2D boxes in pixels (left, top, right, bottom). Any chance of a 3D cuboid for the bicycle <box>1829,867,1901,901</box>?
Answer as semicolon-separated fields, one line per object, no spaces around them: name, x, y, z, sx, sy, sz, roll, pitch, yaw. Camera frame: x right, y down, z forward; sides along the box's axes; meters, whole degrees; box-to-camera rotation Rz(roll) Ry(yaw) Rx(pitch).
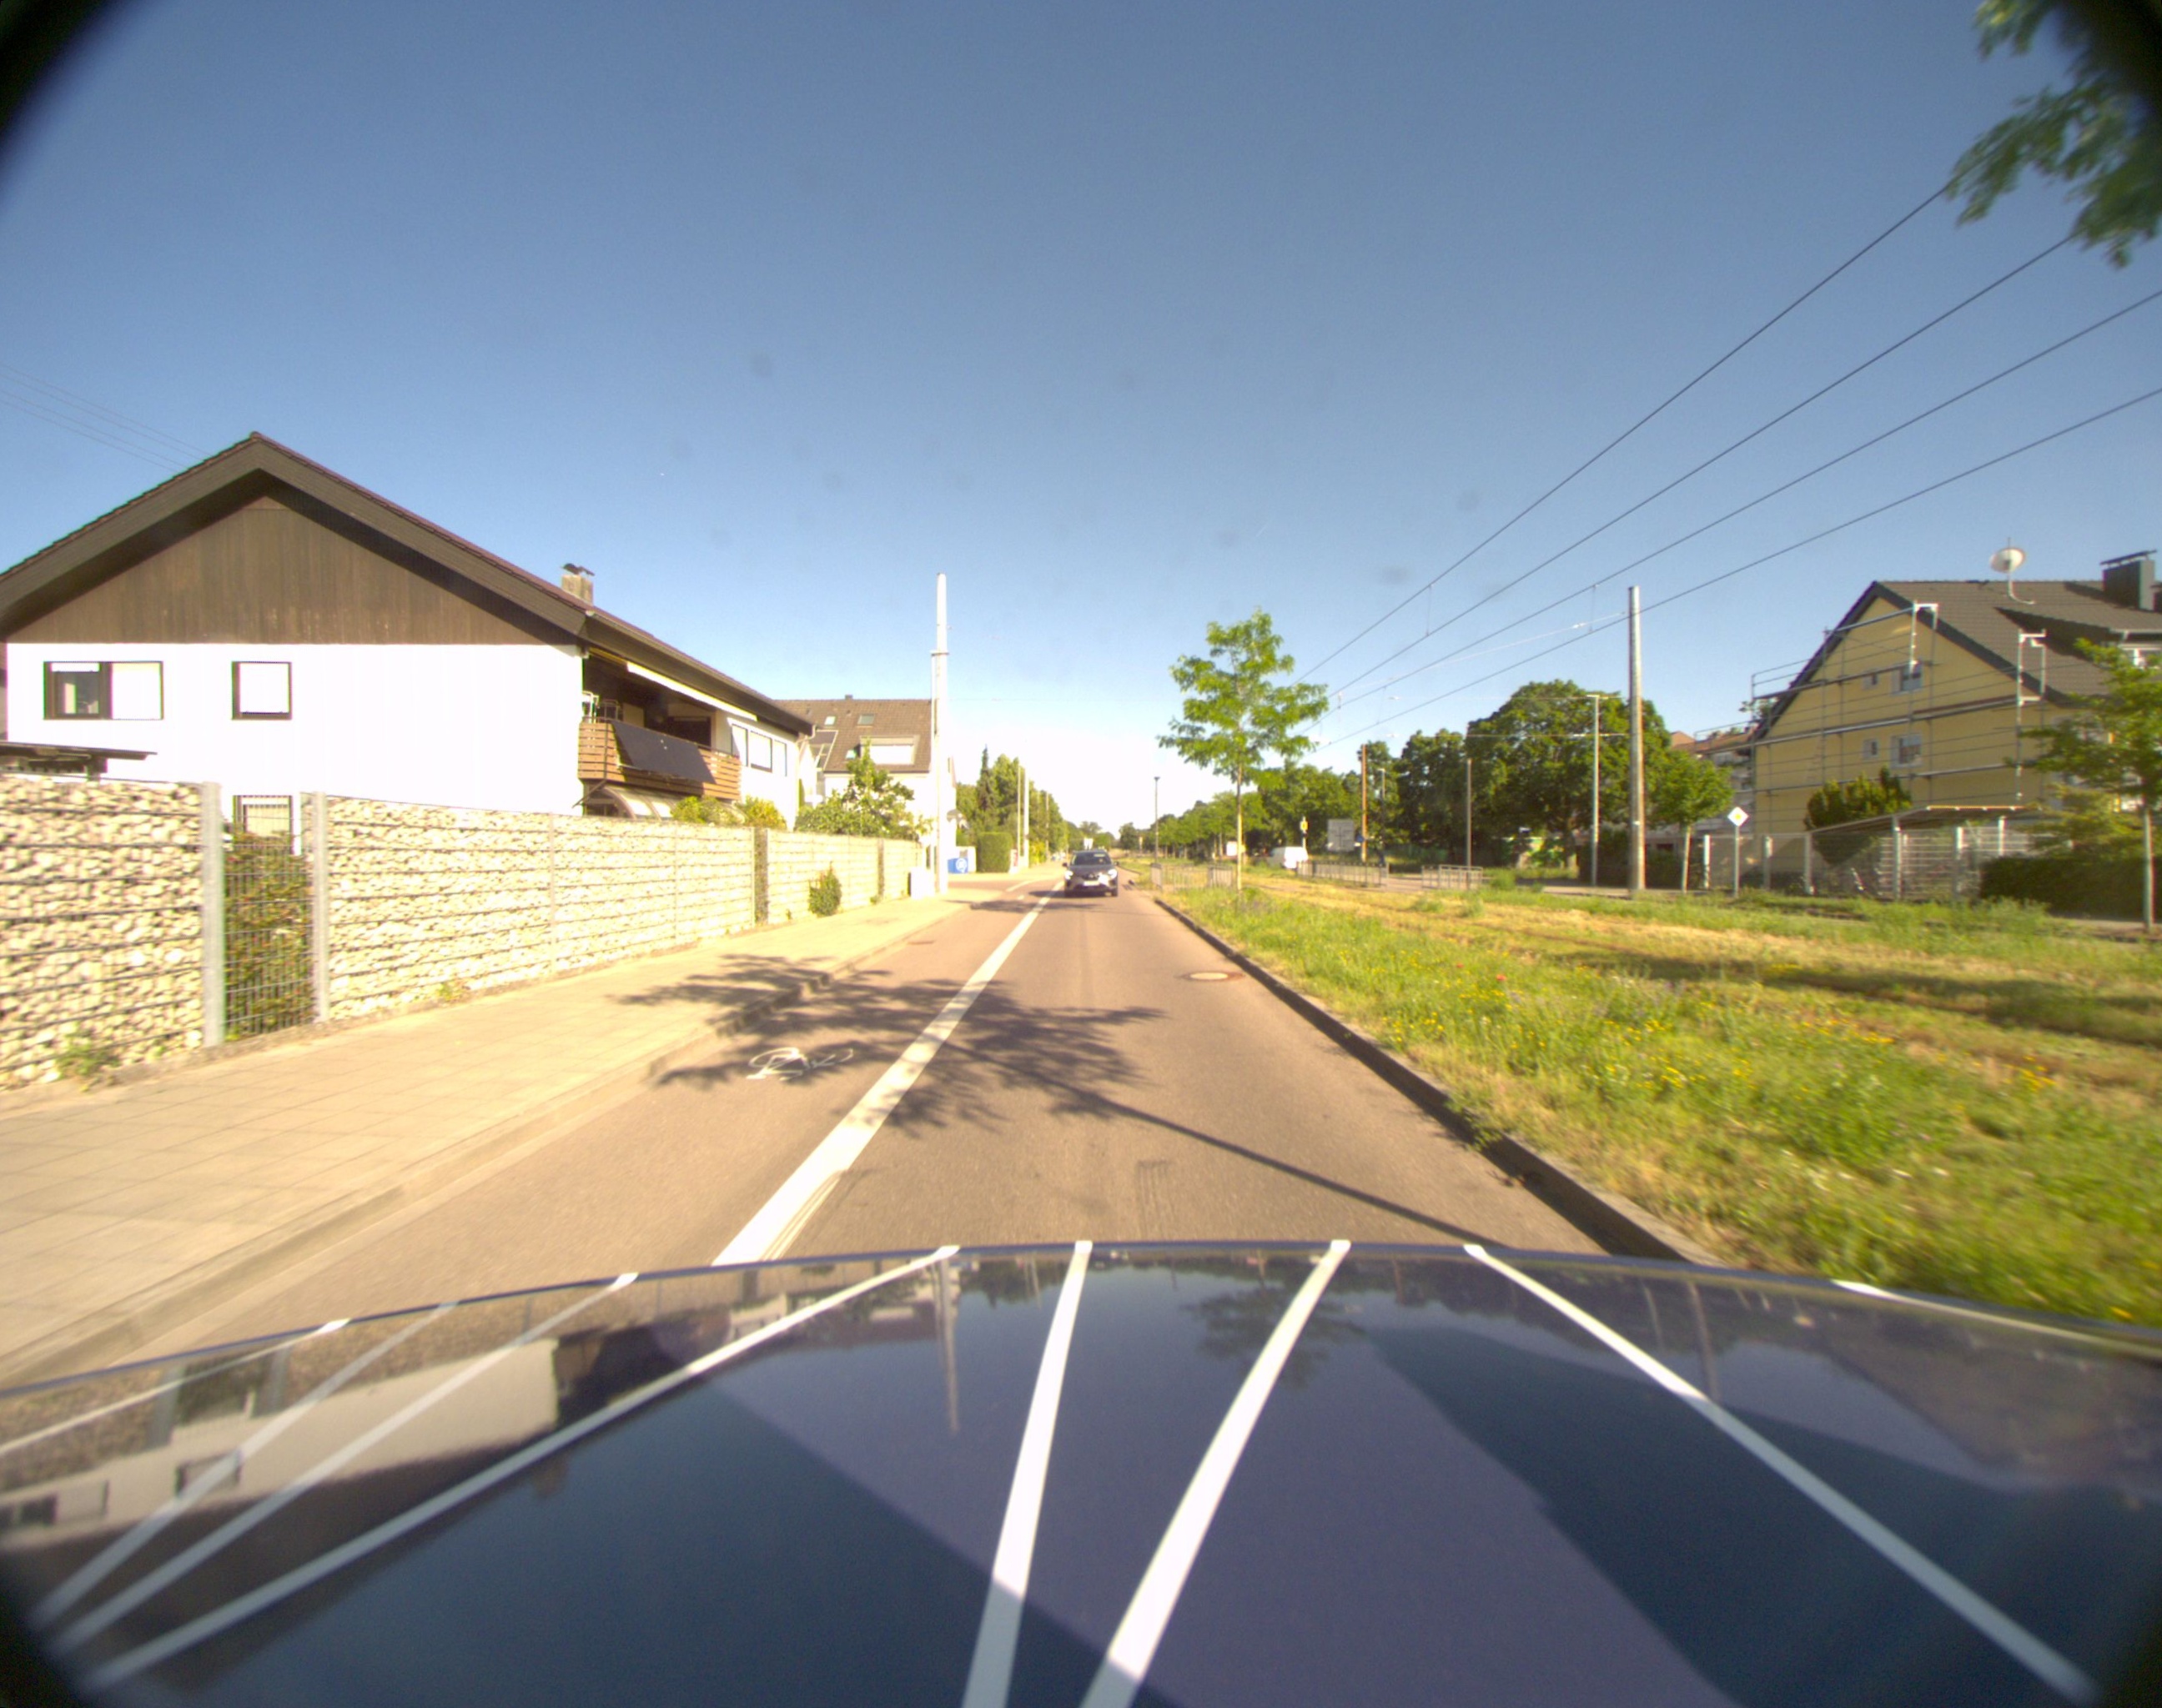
bicycle;23.943;0.889;23.254;0.424;0.936;1.748;-1;1;1

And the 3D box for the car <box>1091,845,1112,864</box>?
car;2.044;0.003;74.902;1.998;1.824;4.000;-1;1;1

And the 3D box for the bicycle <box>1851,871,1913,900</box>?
bicycle;24.647;0.954;23.413;0.311;0.816;1.509;-1;1;1

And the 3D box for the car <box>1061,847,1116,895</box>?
car;0.227;0.583;28.042;1.867;1.614;3.999;-1;0;-1

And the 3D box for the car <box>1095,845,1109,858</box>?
car;3.080;-0.394;113.407;1.998;1.824;4.000;-1;1;1

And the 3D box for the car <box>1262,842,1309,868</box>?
car;16.042;0.092;59.799;1.903;1.903;4.698;3;0;-7

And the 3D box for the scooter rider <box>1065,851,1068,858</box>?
scooter rider;-3.424;0.088;181.031;0.552;1.756;0.599;-1;1;-1
